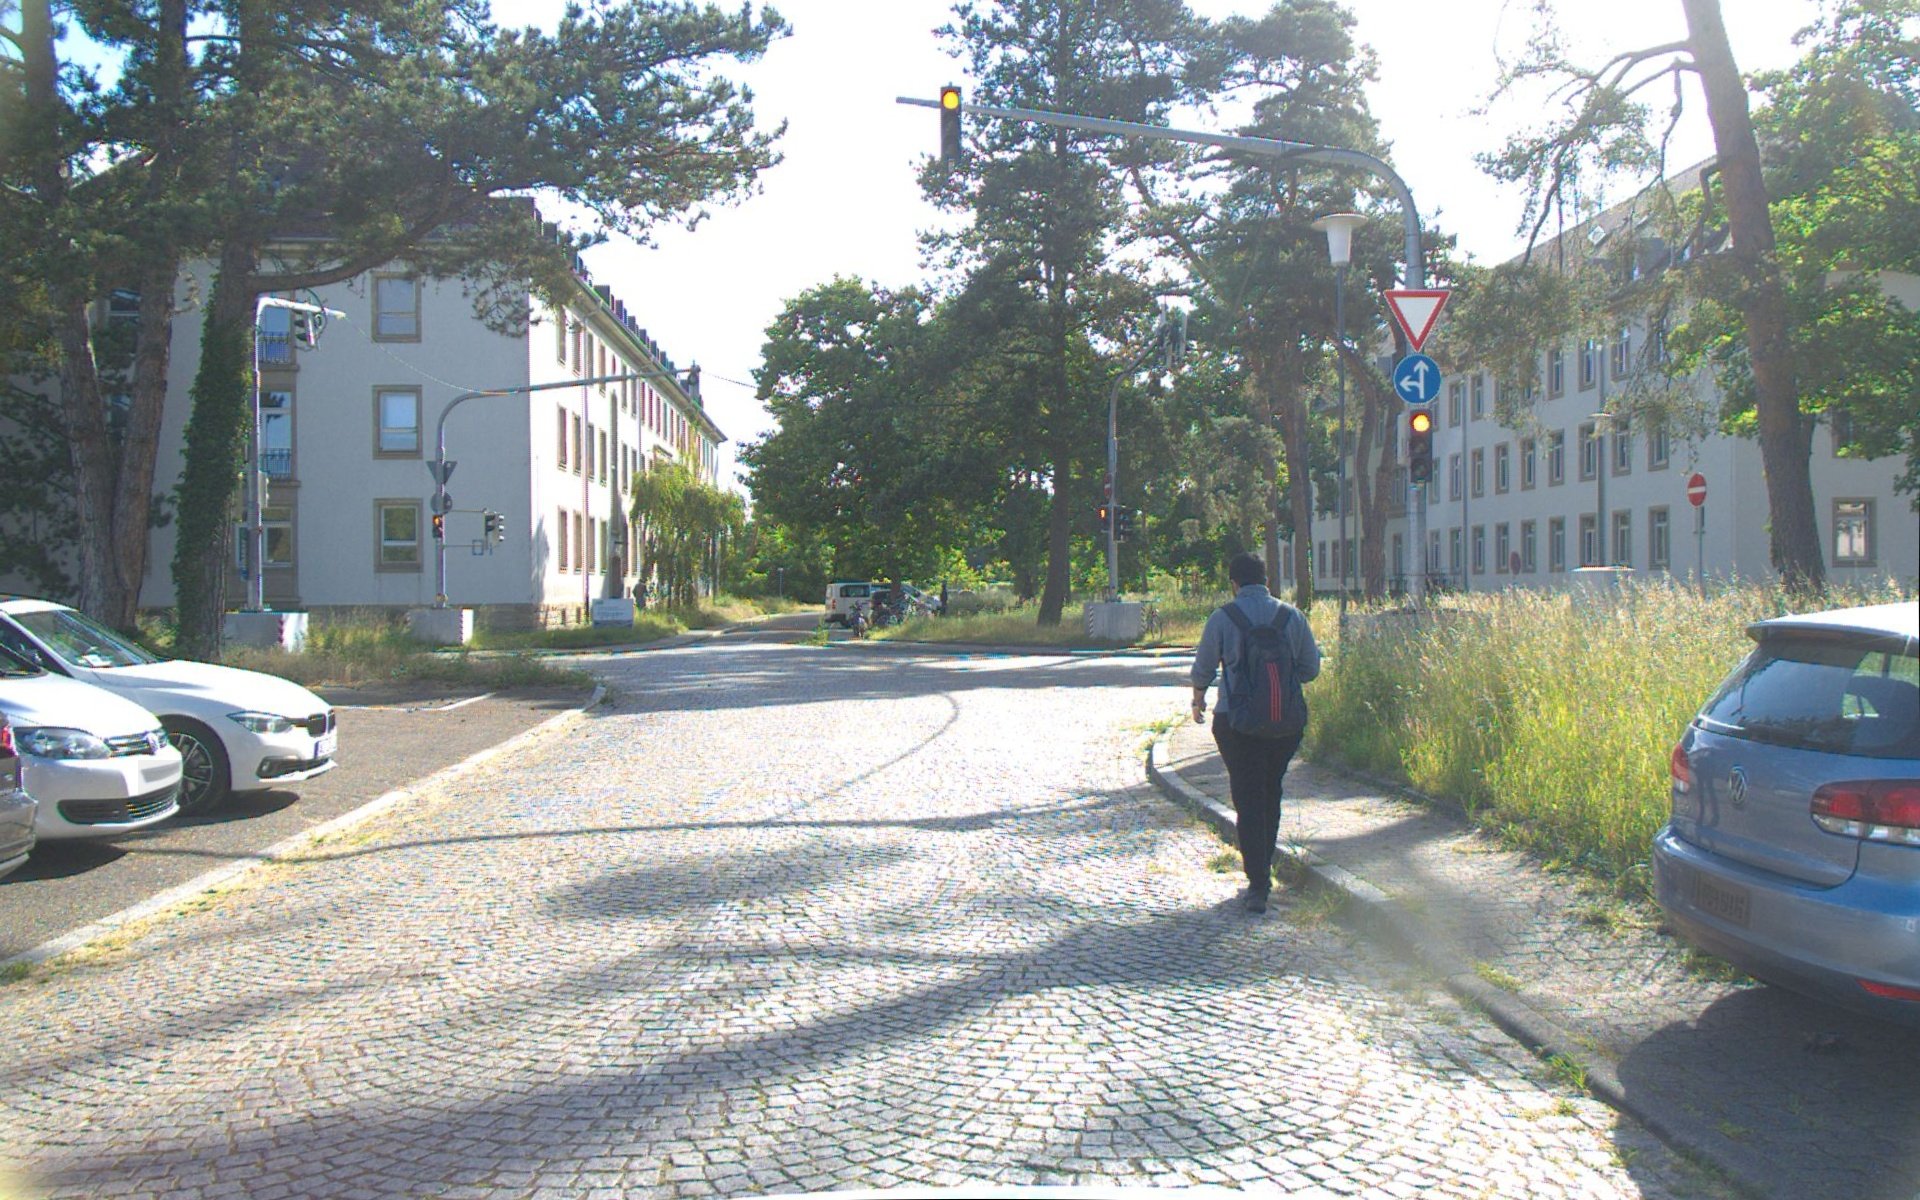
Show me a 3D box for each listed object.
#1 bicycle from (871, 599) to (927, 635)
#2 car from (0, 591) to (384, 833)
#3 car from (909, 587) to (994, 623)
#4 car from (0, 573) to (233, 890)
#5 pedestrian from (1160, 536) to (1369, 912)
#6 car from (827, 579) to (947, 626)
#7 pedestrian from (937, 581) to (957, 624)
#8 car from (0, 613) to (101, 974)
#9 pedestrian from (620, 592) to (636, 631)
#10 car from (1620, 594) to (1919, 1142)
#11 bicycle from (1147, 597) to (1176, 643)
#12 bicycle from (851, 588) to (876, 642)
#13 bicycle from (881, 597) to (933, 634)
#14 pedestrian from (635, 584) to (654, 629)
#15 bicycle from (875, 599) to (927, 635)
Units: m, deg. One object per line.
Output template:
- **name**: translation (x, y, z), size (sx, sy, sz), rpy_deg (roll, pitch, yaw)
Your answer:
- **bicycle**: translation (-1.992, 0.561, 54.133), size (1.799, 1.132, 0.494), rpy_deg (-1, 0, -7)
- **car**: translation (-6.483, 0.736, 12.041), size (3.905, 1.522, 1.773), rpy_deg (2, 0, 1)
- **car**: translation (-0.410, 0.204, 75.985), size (3.676, 1.607, 1.737), rpy_deg (0, 0, -11)
- **car**: translation (-6.436, 0.646, 9.426), size (3.804, 1.643, 1.659), rpy_deg (2, 0, -5)
- **pedestrian**: translation (1.515, 0.594, 8.353), size (0.738, 1.755, 0.828), rpy_deg (4, 0, -4)
- **car**: translation (-3.184, 0.102, 72.004), size (4.979, 1.951, 1.993), rpy_deg (-1, 0, -13)
- **pedestrian**: translation (-0.553, 0.121, 70.587), size (0.746, 1.815, 0.682), rpy_deg (-1, 0, -11)
- **car**: translation (-5.888, 0.729, 6.687), size (3.860, 1.470, 1.689), rpy_deg (3, 0, -5)
- **pedestrian**: translation (-13.529, 0.461, 67.370), size (0.596, 1.587, 0.544), rpy_deg (0, 0, -10)
- **car**: translation (4.356, 0.693, 5.530), size (3.600, 1.468, 1.664), rpy_deg (-2, 0, -4)
- **bicycle**: translation (5.188, 0.500, 42.684), size (0.706, 1.134, 2.585), rpy_deg (-1, 0, 6)
- **bicycle**: translation (-2.983, 0.434, 50.792), size (0.738, 1.608, 2.535), rpy_deg (0, 0, -4)
- **bicycle**: translation (-1.767, 0.515, 55.375), size (1.694, 1.185, 0.560), rpy_deg (-1, 0, -7)
- **pedestrian**: translation (-12.557, 0.271, 65.796), size (0.599, 1.783, 0.625), rpy_deg (-1, 0, -27)
- **bicycle**: translation (-1.957, 0.558, 54.681), size (1.694, 1.132, 0.483), rpy_deg (-1, 0, -7)
